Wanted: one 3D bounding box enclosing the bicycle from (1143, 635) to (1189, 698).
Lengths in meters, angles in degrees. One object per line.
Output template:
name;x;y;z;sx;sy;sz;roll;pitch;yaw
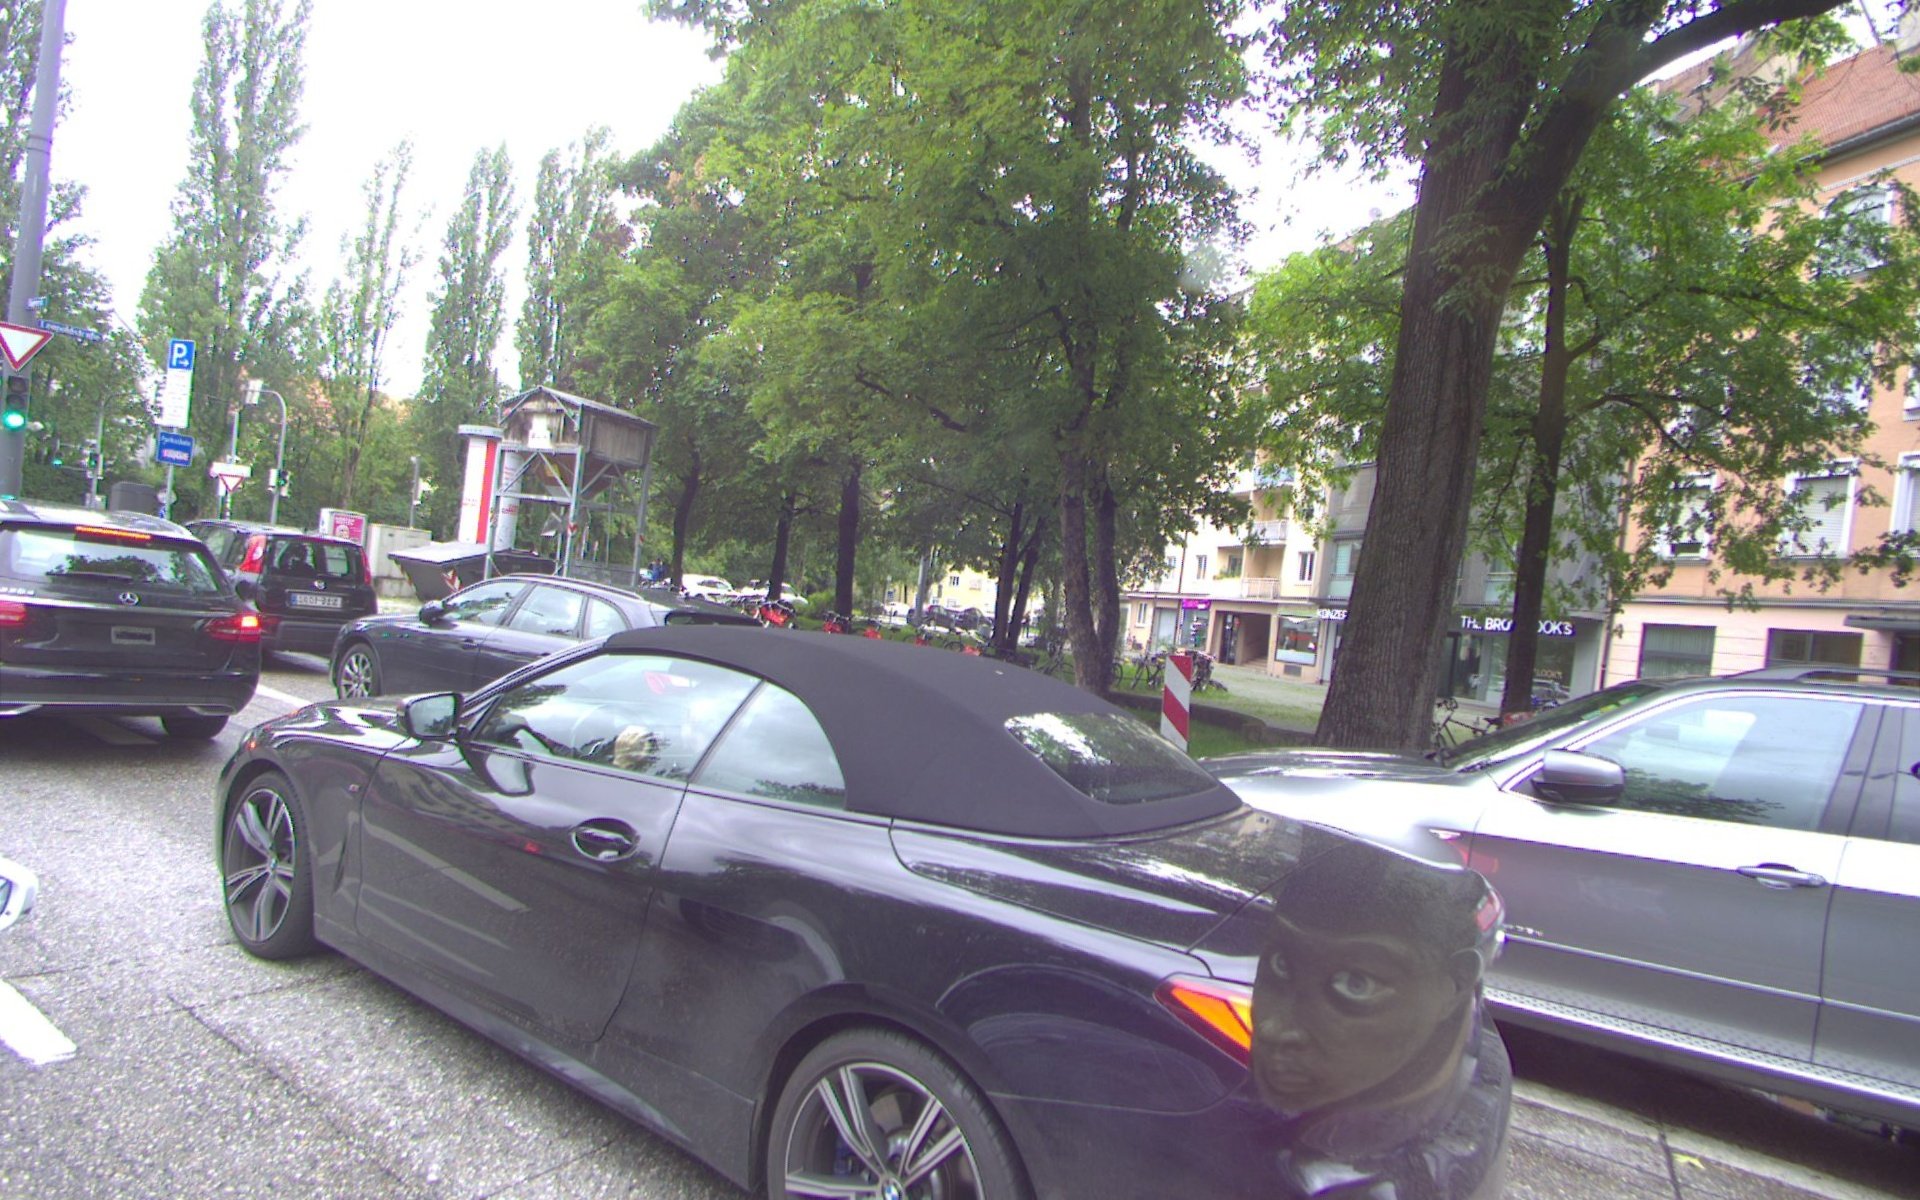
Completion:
bicycle;5.331;1.686;26.150;0.619;1.374;2.467;7;2;2

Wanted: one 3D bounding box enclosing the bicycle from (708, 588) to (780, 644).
bicycle;-4.138;0.321;19.340;0.308;0.904;1.408;6;-2;38

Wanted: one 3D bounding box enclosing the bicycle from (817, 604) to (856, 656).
bicycle;-2.274;0.555;18.602;0.307;0.905;1.413;7;0;6

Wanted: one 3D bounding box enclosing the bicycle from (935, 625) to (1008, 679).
bicycle;0.237;1.054;20.302;1.395;0.904;0.311;8;-1;-25

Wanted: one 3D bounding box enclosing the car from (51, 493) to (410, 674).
car;-8.669;-0.233;11.847;4.480;1.568;1.832;7;0;33

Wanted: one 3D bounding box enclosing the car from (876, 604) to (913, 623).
car;-6.580;1.388;101.077;1.755;1.504;4.134;7;0;27

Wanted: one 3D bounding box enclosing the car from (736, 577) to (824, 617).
car;-8.411;-0.124;47.347;1.700;1.424;4.370;7;0;27

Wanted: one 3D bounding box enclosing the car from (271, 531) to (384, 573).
car;-31.370;-2.349;49.993;1.756;1.504;4.345;7;0;30

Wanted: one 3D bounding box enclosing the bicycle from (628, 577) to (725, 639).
bicycle;-5.761;0.194;20.607;0.619;1.028;2.241;7;-2;21

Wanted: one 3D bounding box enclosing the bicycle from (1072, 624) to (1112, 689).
bicycle;3.284;1.376;25.195;0.619;1.374;2.467;7;2;2

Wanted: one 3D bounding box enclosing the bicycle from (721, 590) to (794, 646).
bicycle;-3.828;0.353;19.107;0.308;0.904;1.408;6;-2;38

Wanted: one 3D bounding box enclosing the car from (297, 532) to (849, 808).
car;-3.370;0.445;8.493;4.563;1.479;1.770;7;0;30

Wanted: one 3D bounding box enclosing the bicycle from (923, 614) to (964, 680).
bicycle;-0.354;1.089;23.280;0.619;1.372;2.471;7;-2;3

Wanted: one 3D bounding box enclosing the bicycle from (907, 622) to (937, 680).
bicycle;-0.648;0.840;17.004;0.308;0.904;1.412;7;-2;-5

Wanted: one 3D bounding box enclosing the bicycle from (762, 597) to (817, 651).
bicycle;-3.189;0.461;18.890;0.307;0.904;1.414;7;-2;17

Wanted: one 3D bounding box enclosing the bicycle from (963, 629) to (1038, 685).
bicycle;0.759;1.076;19.118;1.391;0.904;0.312;6;-1;38

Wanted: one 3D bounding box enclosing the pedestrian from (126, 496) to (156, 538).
pedestrian;-35.247;-3.561;43.287;0.692;1.682;0.550;7;-1;-18

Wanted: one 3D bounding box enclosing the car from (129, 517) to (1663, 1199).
car;-0.686;0.689;3.347;4.719;1.406;1.726;7;0;32

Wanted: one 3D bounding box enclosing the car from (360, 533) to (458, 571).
car;-29.592;-2.559;54.154;1.756;1.504;4.251;7;0;30

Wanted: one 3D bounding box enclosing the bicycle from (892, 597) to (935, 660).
bicycle;-1.106;0.663;24.343;0.619;1.374;2.468;7;1;3

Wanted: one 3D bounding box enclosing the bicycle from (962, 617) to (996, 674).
bicycle;0.318;0.762;17.179;0.308;0.904;1.412;7;-2;-5

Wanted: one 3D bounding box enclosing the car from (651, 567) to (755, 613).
car;-10.740;-0.386;42.357;1.700;1.424;4.370;7;0;27

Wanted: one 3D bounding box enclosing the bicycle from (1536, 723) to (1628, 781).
bicycle;9.971;2.425;16.155;0.316;0.732;1.167;8;-2;-36

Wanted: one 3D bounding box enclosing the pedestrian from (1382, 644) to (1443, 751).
pedestrian;8.577;1.837;19.086;0.622;1.924;0.626;8;-1;-31

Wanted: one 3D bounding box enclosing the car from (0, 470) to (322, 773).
car;-6.631;-0.063;6.901;4.626;1.567;1.867;7;-2;32

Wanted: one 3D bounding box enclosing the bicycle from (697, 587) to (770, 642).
bicycle;-4.389;0.296;19.558;0.308;0.904;1.408;6;-2;38

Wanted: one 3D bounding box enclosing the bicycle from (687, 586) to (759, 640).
bicycle;-4.646;0.271;19.770;0.308;0.904;1.408;6;-2;38

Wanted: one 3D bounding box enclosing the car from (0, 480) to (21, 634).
car;-11.475;-0.658;10.334;3.936;1.504;1.782;7;0;34

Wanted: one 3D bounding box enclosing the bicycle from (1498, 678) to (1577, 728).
bicycle;18.249;3.231;31.844;0.500;1.304;2.238;7;-2;-22

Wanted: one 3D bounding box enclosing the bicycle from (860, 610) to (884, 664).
bicycle;-1.604;0.671;18.310;0.308;0.904;1.412;7;-2;-5

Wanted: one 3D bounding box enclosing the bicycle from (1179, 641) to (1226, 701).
bicycle;6.712;1.940;27.963;0.619;1.374;2.467;7;2;2

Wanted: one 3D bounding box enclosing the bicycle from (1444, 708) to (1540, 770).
bicycle;7.969;2.080;15.090;1.163;0.732;0.317;6;-2;43

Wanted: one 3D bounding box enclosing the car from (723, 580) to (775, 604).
car;-16.738;-0.628;80.036;1.755;1.504;4.134;7;0;27

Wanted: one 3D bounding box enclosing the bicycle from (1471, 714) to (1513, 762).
bicycle;8.845;2.297;16.704;0.314;0.732;1.174;6;-2;40

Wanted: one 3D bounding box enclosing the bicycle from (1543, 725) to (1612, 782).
bicycle;8.930;2.223;14.541;1.167;0.732;0.316;9;-2;-33

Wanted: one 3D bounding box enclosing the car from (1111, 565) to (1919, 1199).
car;3.177;1.072;4.249;4.475;1.842;1.935;7;0;27

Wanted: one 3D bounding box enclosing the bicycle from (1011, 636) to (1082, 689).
bicycle;1.733;1.253;20.315;1.391;0.904;0.312;6;-1;38
